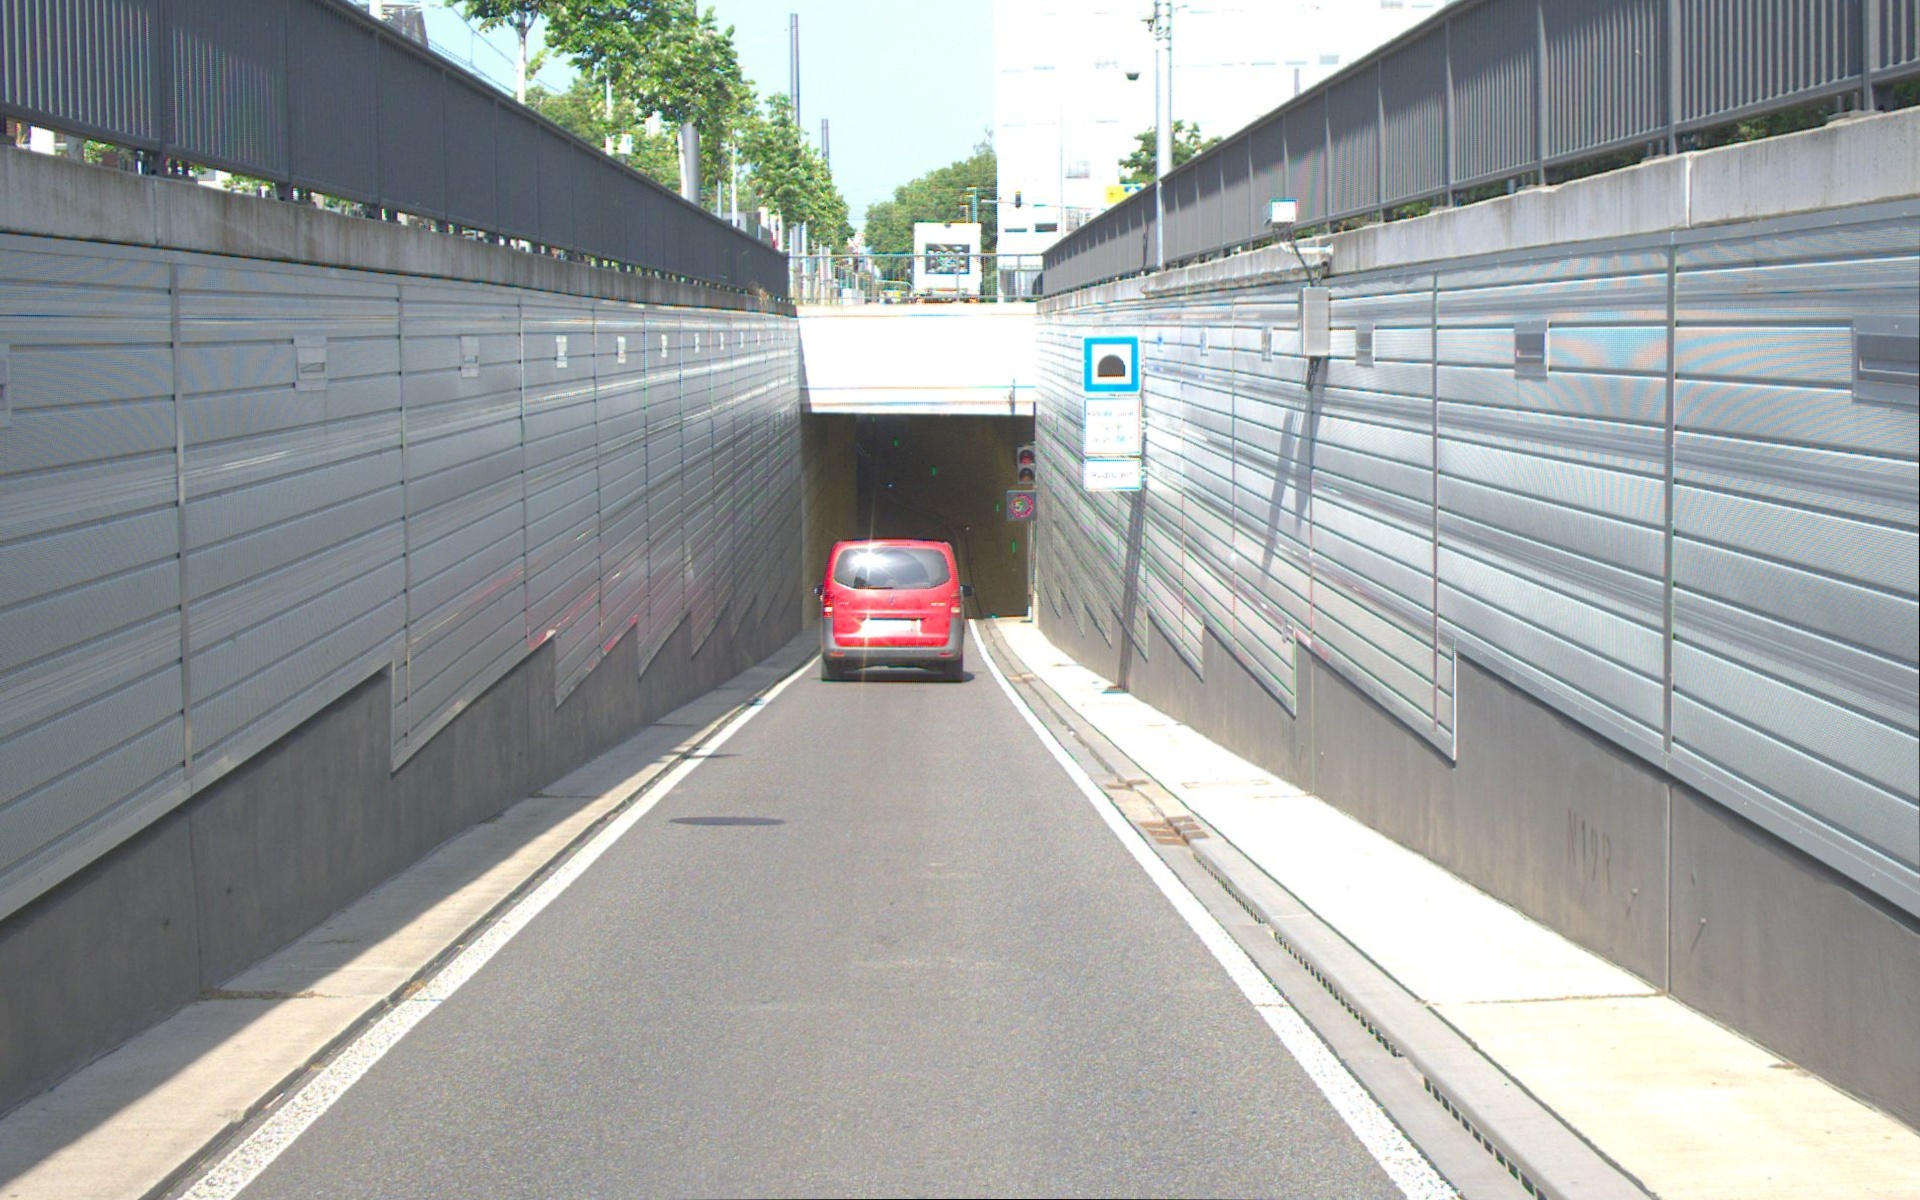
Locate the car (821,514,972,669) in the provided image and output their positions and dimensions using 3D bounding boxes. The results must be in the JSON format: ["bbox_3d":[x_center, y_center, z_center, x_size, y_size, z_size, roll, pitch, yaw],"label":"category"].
[{"bbox_3d":[-0.853,-0.157,46.197,1.901,1.853,4.001,1,3,-1],"label":"car"}]

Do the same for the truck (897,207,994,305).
[{"bbox_3d":[-0.675,-13.947,140.096,3.390,3.712,10.456,-1,5,-3],"label":"truck"}]
